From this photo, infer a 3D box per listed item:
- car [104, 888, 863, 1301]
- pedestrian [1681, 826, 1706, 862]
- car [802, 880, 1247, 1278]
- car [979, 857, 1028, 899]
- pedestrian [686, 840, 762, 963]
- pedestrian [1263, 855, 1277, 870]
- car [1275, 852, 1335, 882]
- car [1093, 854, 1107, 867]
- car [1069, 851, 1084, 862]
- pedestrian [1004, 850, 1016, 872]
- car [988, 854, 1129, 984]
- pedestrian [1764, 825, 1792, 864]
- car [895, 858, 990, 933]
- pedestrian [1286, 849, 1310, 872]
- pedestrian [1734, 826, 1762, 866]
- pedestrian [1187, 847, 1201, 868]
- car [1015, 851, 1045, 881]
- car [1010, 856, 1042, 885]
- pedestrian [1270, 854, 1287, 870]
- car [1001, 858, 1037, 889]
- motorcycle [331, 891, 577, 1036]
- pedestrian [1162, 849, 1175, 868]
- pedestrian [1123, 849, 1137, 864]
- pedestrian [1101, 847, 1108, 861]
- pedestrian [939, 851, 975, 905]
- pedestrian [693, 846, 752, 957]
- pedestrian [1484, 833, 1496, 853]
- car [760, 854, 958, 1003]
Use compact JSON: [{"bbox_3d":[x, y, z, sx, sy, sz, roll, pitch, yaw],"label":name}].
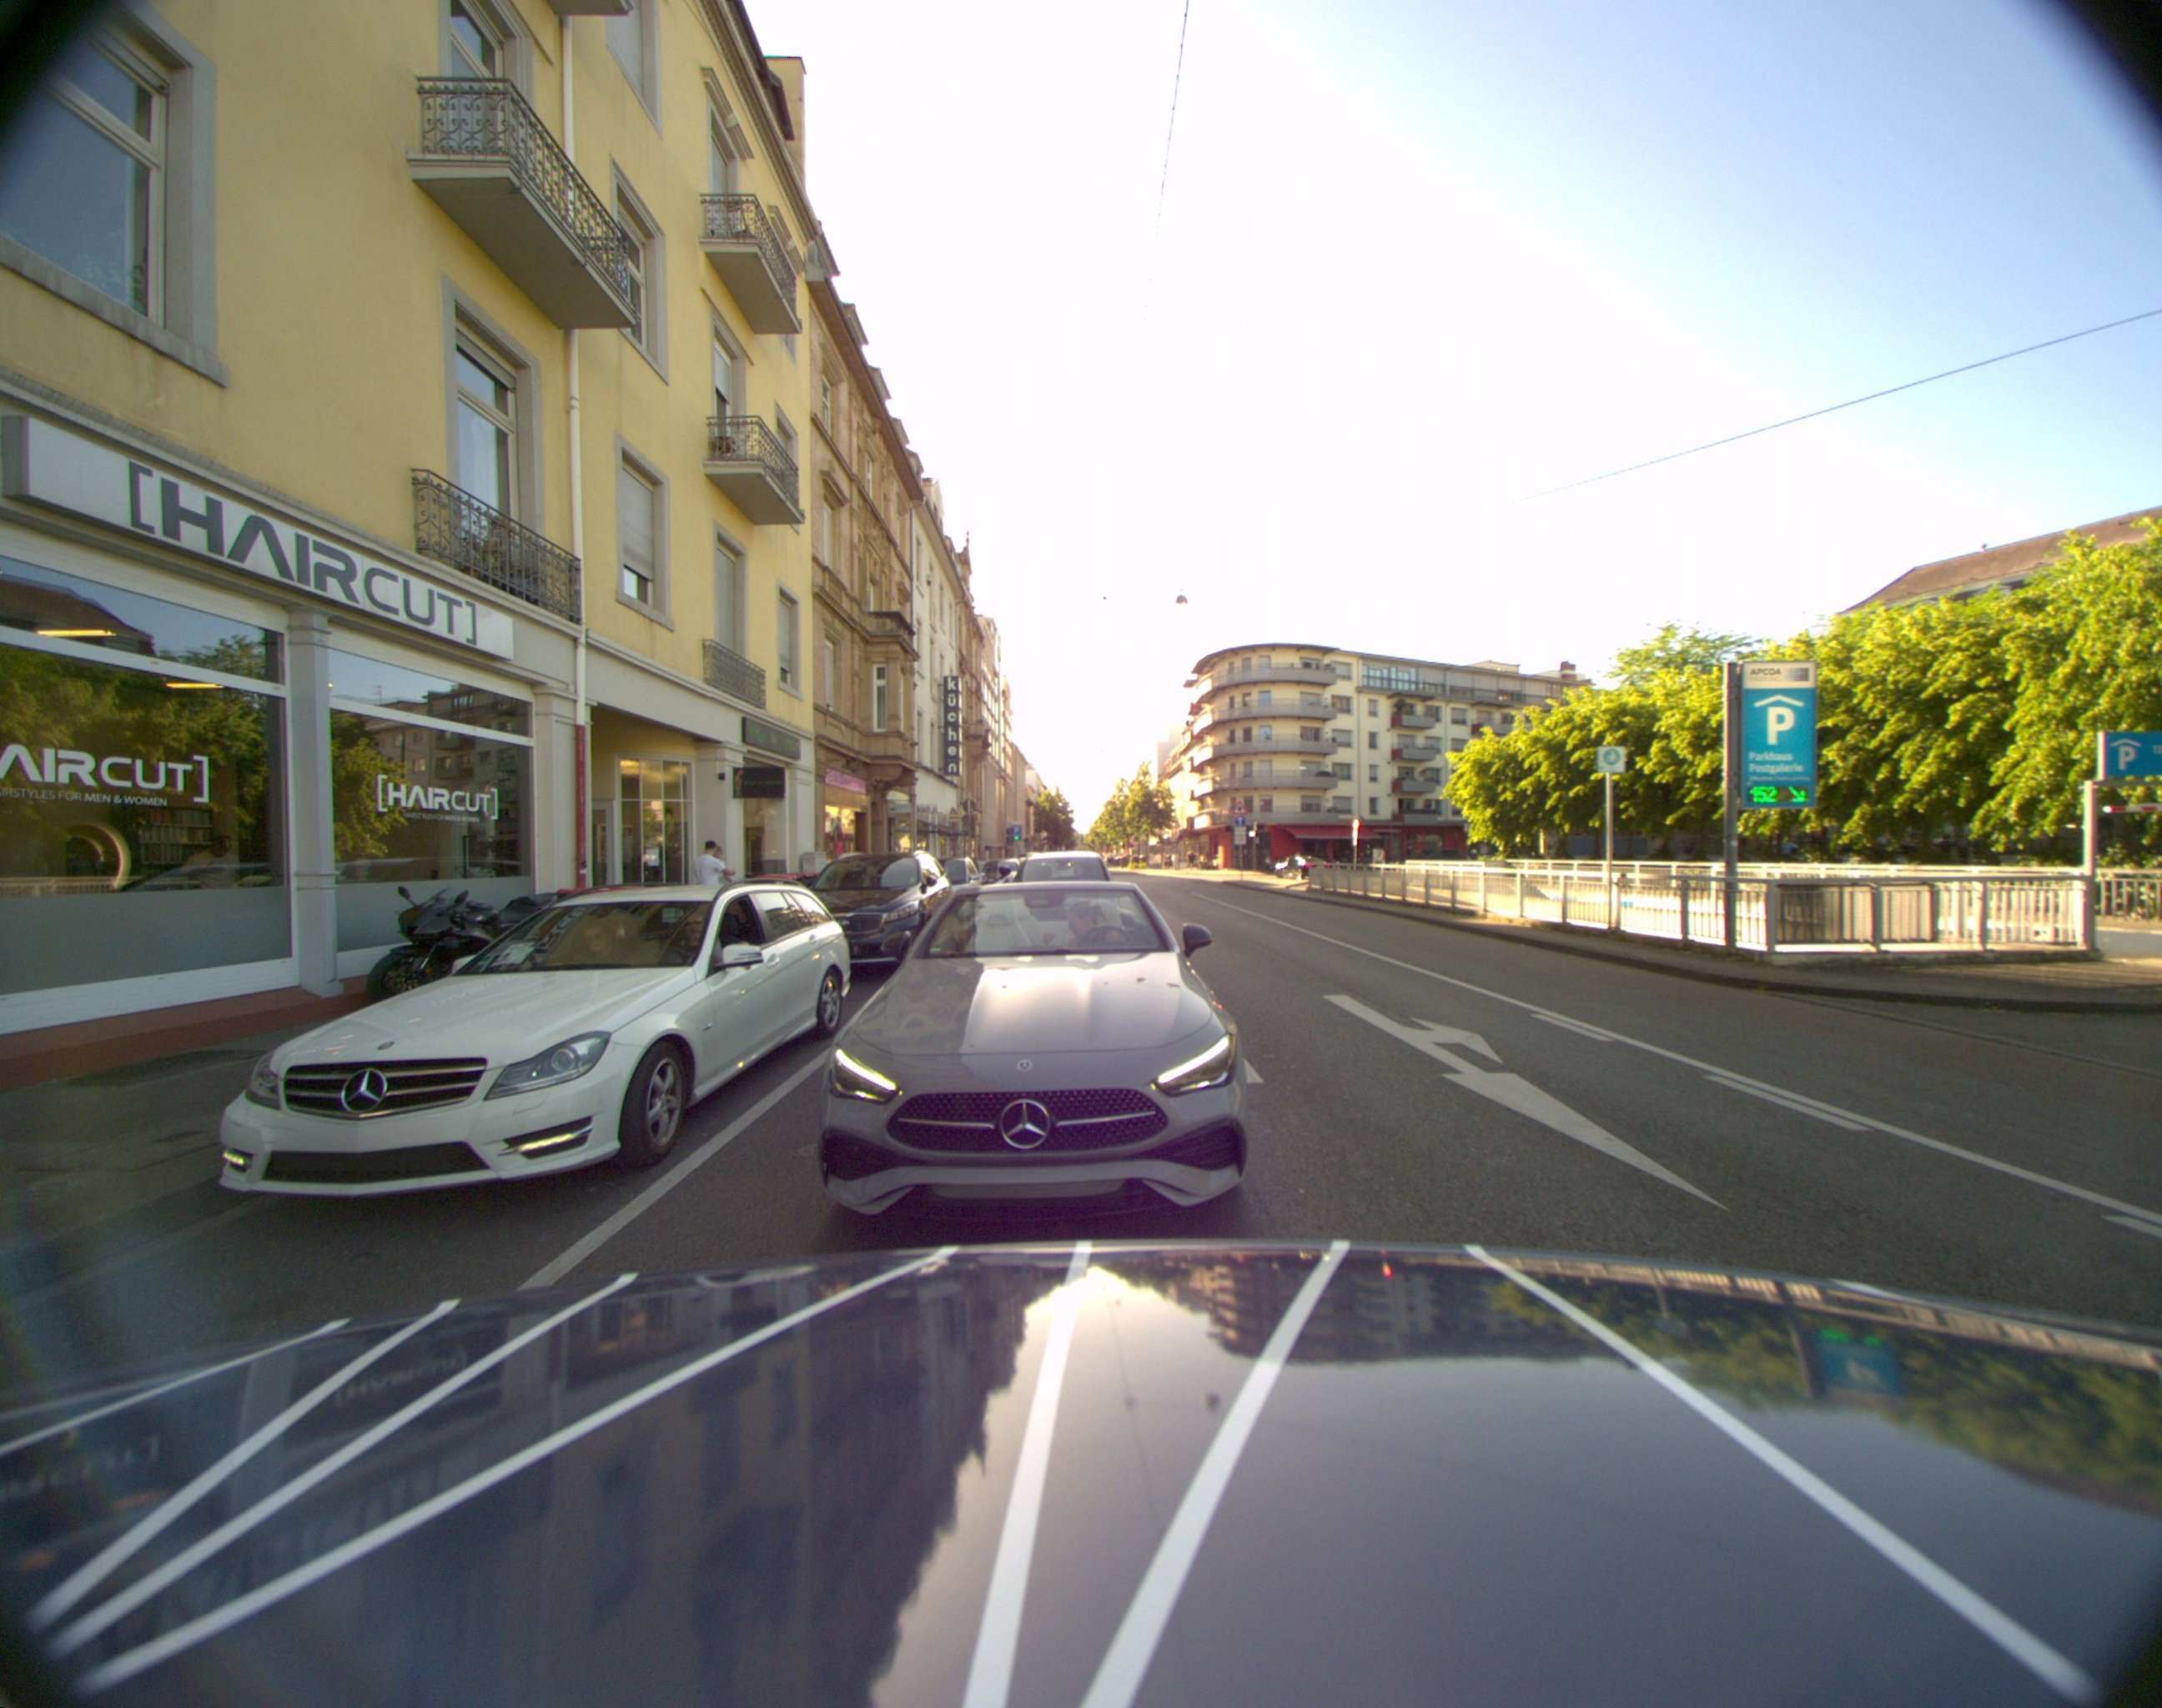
[{"bbox_3d":[-3.025,1.072,5.241,1.672,1.364,4.377,-2,1,1],"label":"car"},{"bbox_3d":[31.893,-0.505,39.554,0.748,1.832,0.683,-3,1,-21],"label":"pedestrian"},{"bbox_3d":[-0.280,0.997,5.352,1.769,1.360,4.471,-2,1,-2],"label":"car"},{"bbox_3d":[-3.025,0.902,30.306,1.695,1.482,3.796,-2,1,-3],"label":"car"},{"bbox_3d":[-5.732,0.731,12.200,0.975,1.866,0.534,-3,1,-31],"label":"pedestrian"},{"bbox_3d":[14.923,0.664,60.033,0.780,1.191,0.884,-2,1,-10],"label":"pedestrian"},{"bbox_3d":[14.004,0.785,47.816,1.678,1.522,4.243,2,2,-13],"label":"car"},{"bbox_3d":[2.841,0.939,113.544,1.836,1.831,3.886,1,1,-2],"label":"car"},{"bbox_3d":[-0.626,0.357,108.902,1.695,1.437,3.574,-2,1,-6],"label":"car"},{"bbox_3d":[-5.765,0.544,61.406,0.826,1.750,0.823,-2,1,-1],"label":"pedestrian"},{"bbox_3d":[-0.364,0.893,12.751,1.866,1.658,4.706,-2,1,-2],"label":"car"},{"bbox_3d":[33.523,-0.432,36.543,0.748,1.832,0.683,-2,1,-13],"label":"pedestrian"},{"bbox_3d":[-3.180,0.905,17.983,1.583,1.514,2.998,-2,1,1],"label":"car"},{"bbox_3d":[16.269,0.455,57.009,1.269,1.656,1.142,-1,1,44],"label":"pedestrian"},{"bbox_3d":[32.164,-0.391,36.657,0.748,1.852,0.683,-2,1,-13],"label":"pedestrian"},{"bbox_3d":[10.024,0.306,67.345,1.060,1.739,0.962,-2,1,1],"label":"pedestrian"},{"bbox_3d":[-3.152,0.716,47.541,1.695,1.670,3.880,-2,1,-3],"label":"car"},{"bbox_3d":[-2.941,0.866,40.943,1.461,1.391,3.363,-2,1,-1],"label":"car"},{"bbox_3d":[15.429,0.652,59.375,0.937,1.191,0.832,-3,1,-24],"label":"pedestrian"},{"bbox_3d":[-2.954,0.900,36.675,1.461,1.310,3.363,-2,1,-1],"label":"car"},{"bbox_3d":[-6.254,1.023,7.782,0.735,1.124,2.109,2,1,1],"label":"motorcycle"},{"bbox_3d":[8.137,0.455,70.719,1.069,1.709,1.081,-2,1,1],"label":"pedestrian"},{"bbox_3d":[6.121,0.266,95.099,1.200,1.826,1.225,-1,1,41],"label":"pedestrian"},{"bbox_3d":[4.005,0.034,129.930,1.117,2.328,1.028,-2,1,-1],"label":"pedestrian"},{"bbox_3d":[-4.103,0.772,25.163,0.821,1.709,0.835,-3,1,-34],"label":"pedestrian"},{"bbox_3d":[-6.147,0.794,13.054,0.630,1.826,0.770,-2,1,-7],"label":"pedestrian"},{"bbox_3d":[38.364,-1.003,71.226,0.747,1.832,0.684,-2,1,1],"label":"pedestrian"},{"bbox_3d":[-3.012,0.890,11.332,1.806,1.680,4.408,-2,1,-3],"label":"car"}]
